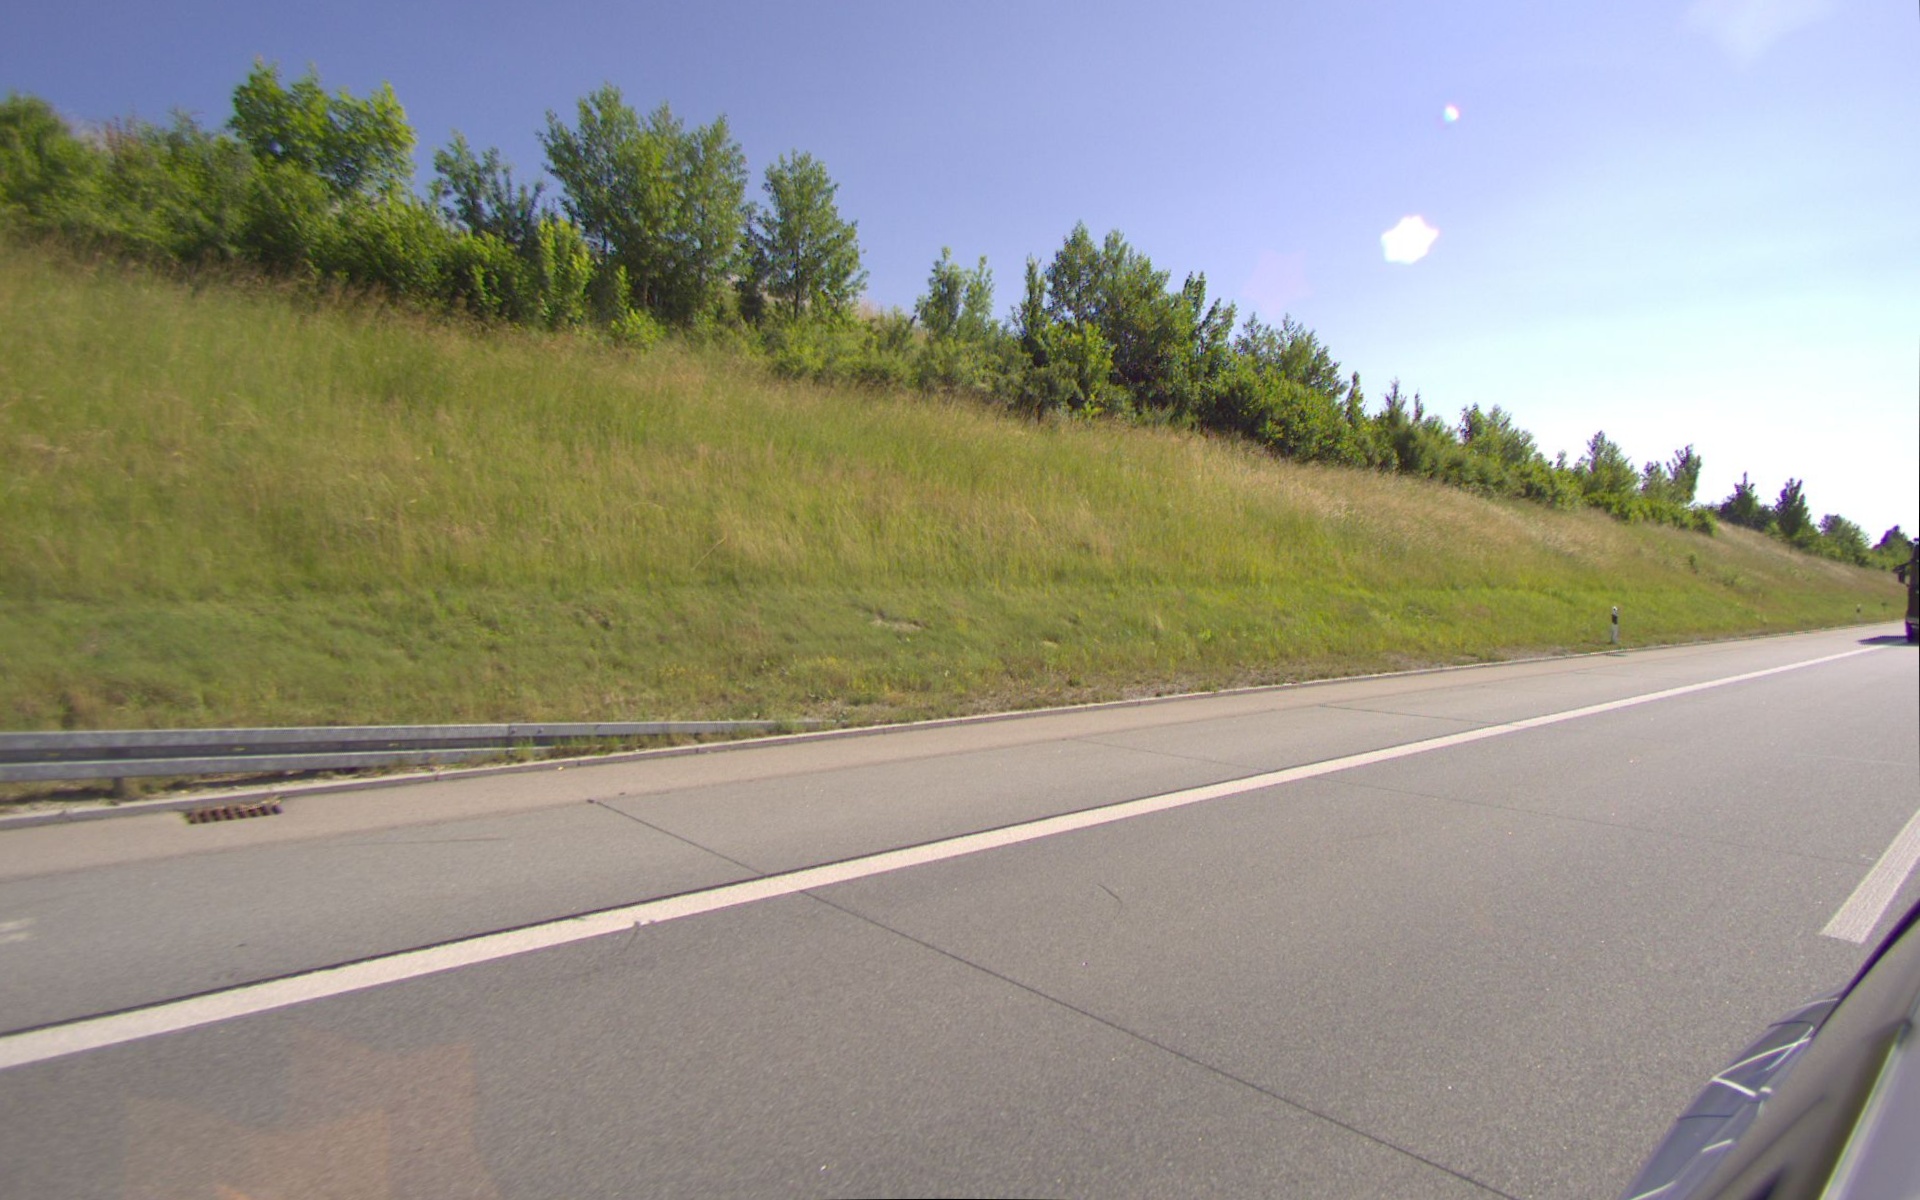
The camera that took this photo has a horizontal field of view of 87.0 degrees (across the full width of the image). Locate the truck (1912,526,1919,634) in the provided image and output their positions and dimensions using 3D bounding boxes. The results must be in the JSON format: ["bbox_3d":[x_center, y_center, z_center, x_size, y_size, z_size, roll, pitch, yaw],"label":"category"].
[{"bbox_3d":[39.841,-0.690,39.326,13.165,3.865,2.622,0,1,-40],"label":"truck"}]
